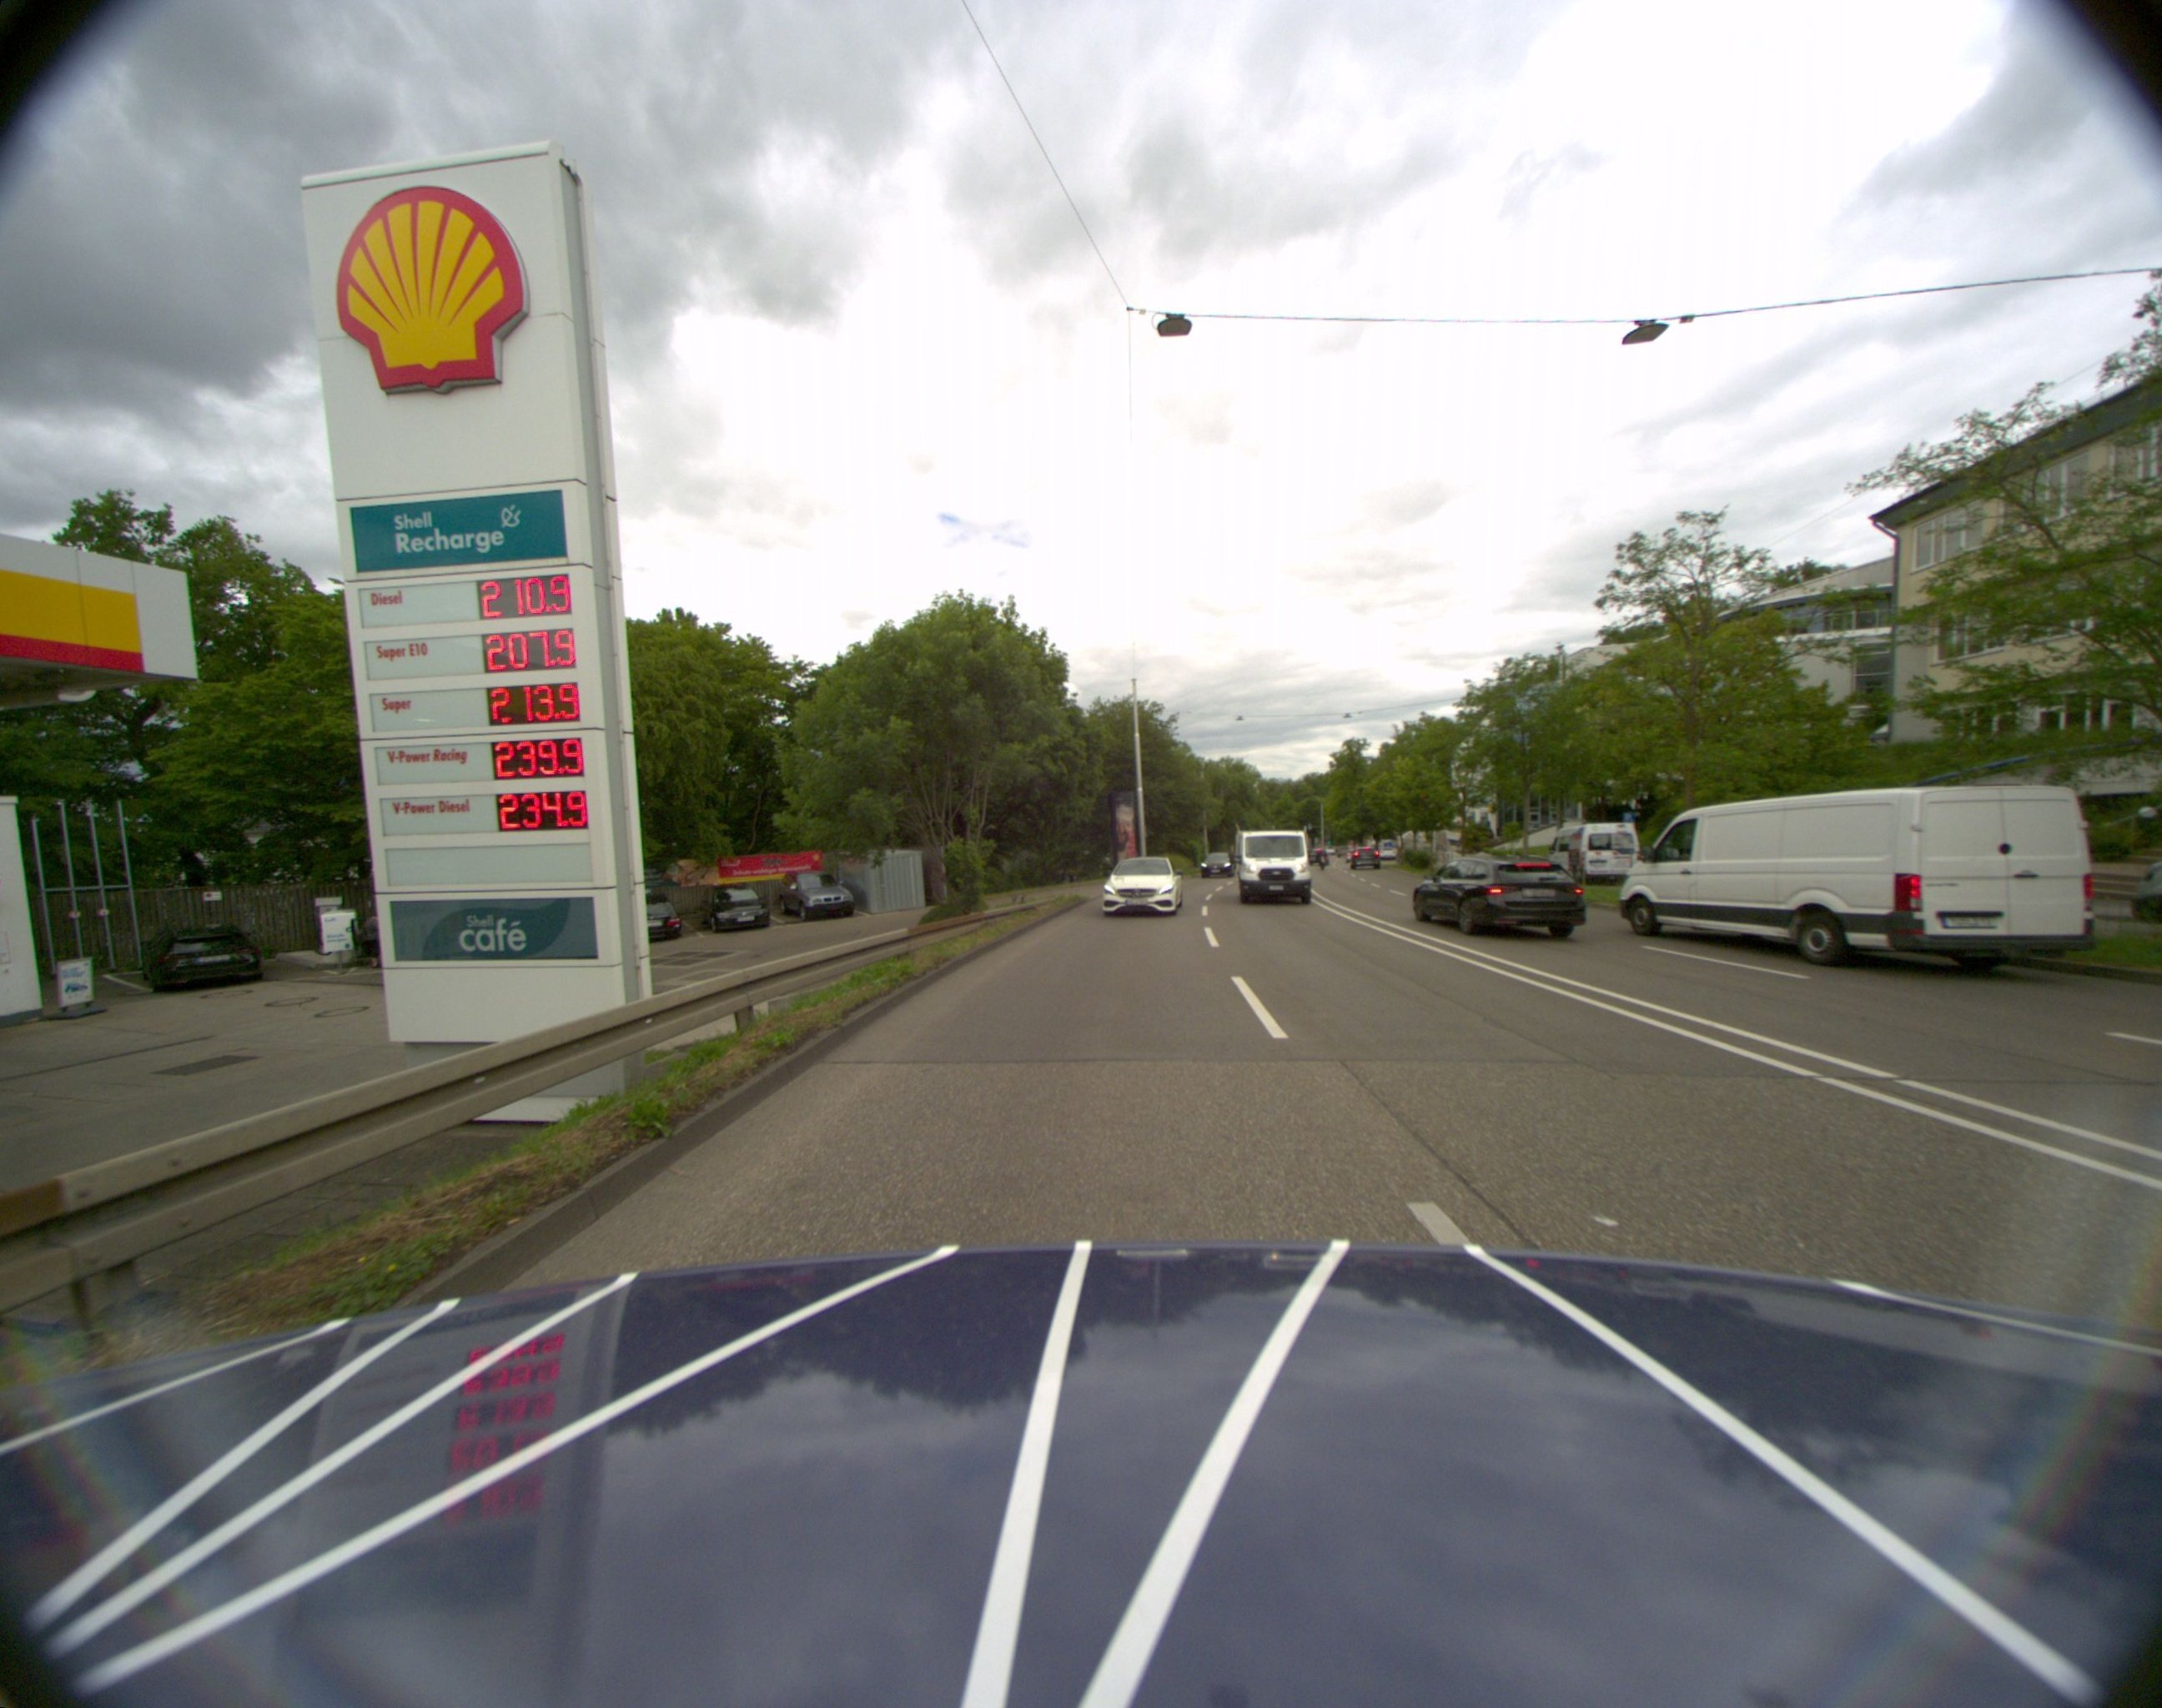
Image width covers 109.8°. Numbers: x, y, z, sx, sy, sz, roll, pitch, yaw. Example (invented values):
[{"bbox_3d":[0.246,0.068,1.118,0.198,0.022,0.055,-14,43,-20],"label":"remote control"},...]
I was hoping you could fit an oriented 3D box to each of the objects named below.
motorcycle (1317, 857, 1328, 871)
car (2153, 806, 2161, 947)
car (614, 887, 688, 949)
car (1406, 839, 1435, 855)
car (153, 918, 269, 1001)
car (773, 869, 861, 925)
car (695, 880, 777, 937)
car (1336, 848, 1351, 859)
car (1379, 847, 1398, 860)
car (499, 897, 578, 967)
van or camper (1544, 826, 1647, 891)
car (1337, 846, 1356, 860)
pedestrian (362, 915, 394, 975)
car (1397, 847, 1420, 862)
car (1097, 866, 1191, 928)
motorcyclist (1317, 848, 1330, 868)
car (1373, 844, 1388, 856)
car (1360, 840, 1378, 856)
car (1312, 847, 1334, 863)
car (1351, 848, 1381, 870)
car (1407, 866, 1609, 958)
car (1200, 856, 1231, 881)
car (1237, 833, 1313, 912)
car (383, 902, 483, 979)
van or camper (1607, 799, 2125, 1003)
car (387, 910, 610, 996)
[{"bbox_3d":[18.179,0.735,57.228,0.484,1.050,2.269,-1,1,9],"label":"motorcycle"},{"bbox_3d":[18.185,0.361,8.982,2.273,2.260,6.328,-1,0,3],"label":"car"},{"bbox_3d":[-14.385,2.047,25.309,1.737,1.429,4.281,-6,5,-34],"label":"car"},{"bbox_3d":[32.722,-0.687,73.341,1.675,1.420,4.422,1,1,13],"label":"car"},{"bbox_3d":[-22.175,2.575,19.318,4.093,1.428,1.726,2,4,39],"label":"car"},{"bbox_3d":[-9.952,1.529,28.417,1.737,1.583,4.280,-6,6,-37],"label":"car"},{"bbox_3d":[-12.154,1.823,26.603,1.737,1.419,4.281,-6,5,-35],"label":"car"},{"bbox_3d":[42.125,-0.046,121.885,1.766,1.698,4.875,-2,0,14],"label":"car"},{"bbox_3d":[36.608,-0.068,90.528,1.670,1.495,4.243,-1,0,17],"label":"car"},{"bbox_3d":[-16.382,2.273,23.103,1.738,1.428,4.205,-3,4,-34],"label":"car"},{"bbox_3d":[21.553,0.157,32.114,1.996,2.458,5.717,-1,0,17],"label":"van or camper"},{"bbox_3d":[28.024,-0.116,80.414,1.567,1.423,3.895,-2,0,15],"label":"car"},{"bbox_3d":[-18.970,2.437,20.512,0.470,1.530,0.430,-6,1,-36],"label":"pedestrian"},{"bbox_3d":[33.836,0.024,78.608,1.675,1.420,4.094,-1,0,16],"label":"car"},{"bbox_3d":[1.735,1.019,19.585,1.819,1.339,4.004,0,0,13],"label":"car"},{"bbox_3d":[18.182,0.267,56.944,0.761,1.476,0.961,1,1,9],"label":"motorcyclist"},{"bbox_3d":[45.742,-0.635,116.116,1.808,1.741,4.256,-3,0,20],"label":"car"},{"bbox_3d":[49.402,-1.029,130.338,1.997,2.511,6.540,-3,0,13],"label":"car"},{"bbox_3d":[23.610,0.071,74.250,1.787,1.529,4.080,-1,0,15],"label":"car"},{"bbox_3d":[20.884,0.372,55.799,1.787,1.566,4.473,0,0,16],"label":"car"},{"bbox_3d":[7.827,0.968,14.460,1.739,1.406,4.431,0,0,6],"label":"car"},{"bbox_3d":[8.354,0.847,46.977,1.732,1.402,4.004,-2,0,12],"label":"car"},{"bbox_3d":[6.102,0.533,24.022,1.996,2.161,6.275,-1,0,14],"label":"car"},{"bbox_3d":[-18.224,2.352,21.539,1.631,1.511,4.088,-3,4,-34],"label":"car"},{"bbox_3d":[10.770,0.530,11.426,2.013,2.248,5.964,-1,0,5],"label":"van or camper"},{"bbox_3d":[-14.704,2.414,19.382,4.301,1.424,1.597,-4,4,-41],"label":"car"}]
